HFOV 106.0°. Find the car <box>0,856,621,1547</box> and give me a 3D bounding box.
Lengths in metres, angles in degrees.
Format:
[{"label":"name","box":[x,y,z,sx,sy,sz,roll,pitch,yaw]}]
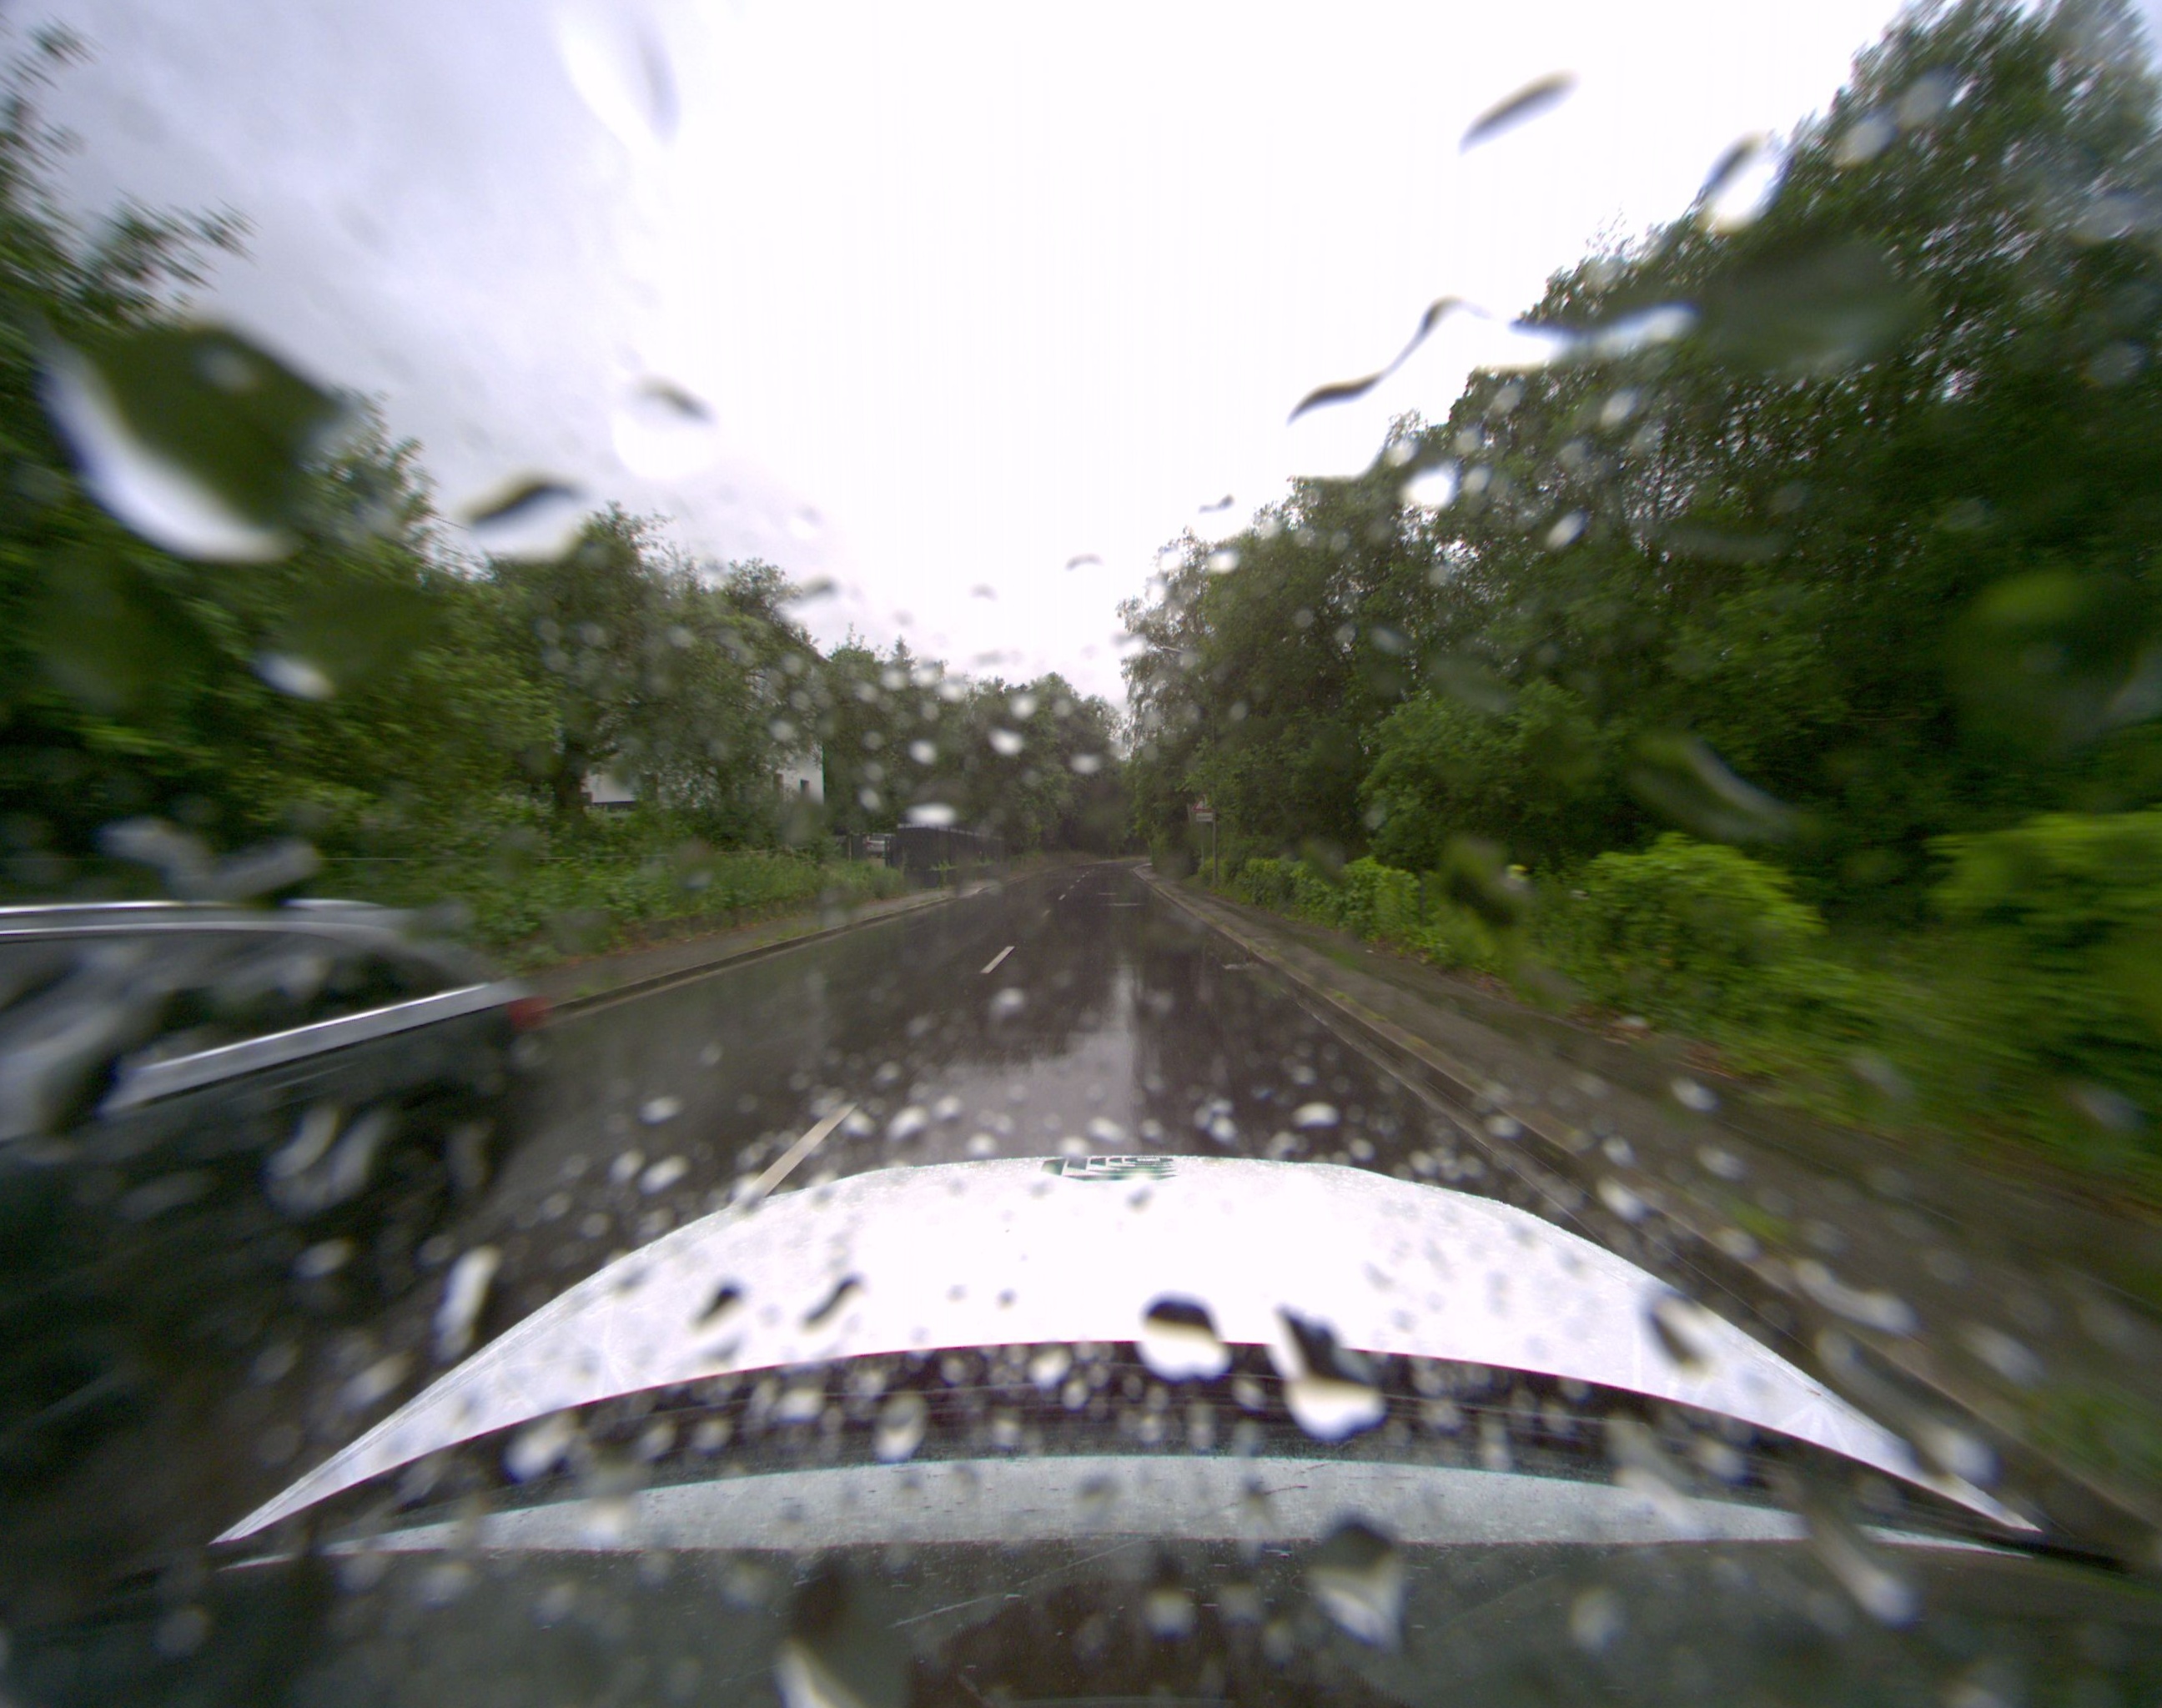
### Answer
[{"label":"car","box":[-3.304,0.757,1.751,1.986,1.454,4.430,0,0,2]}]
